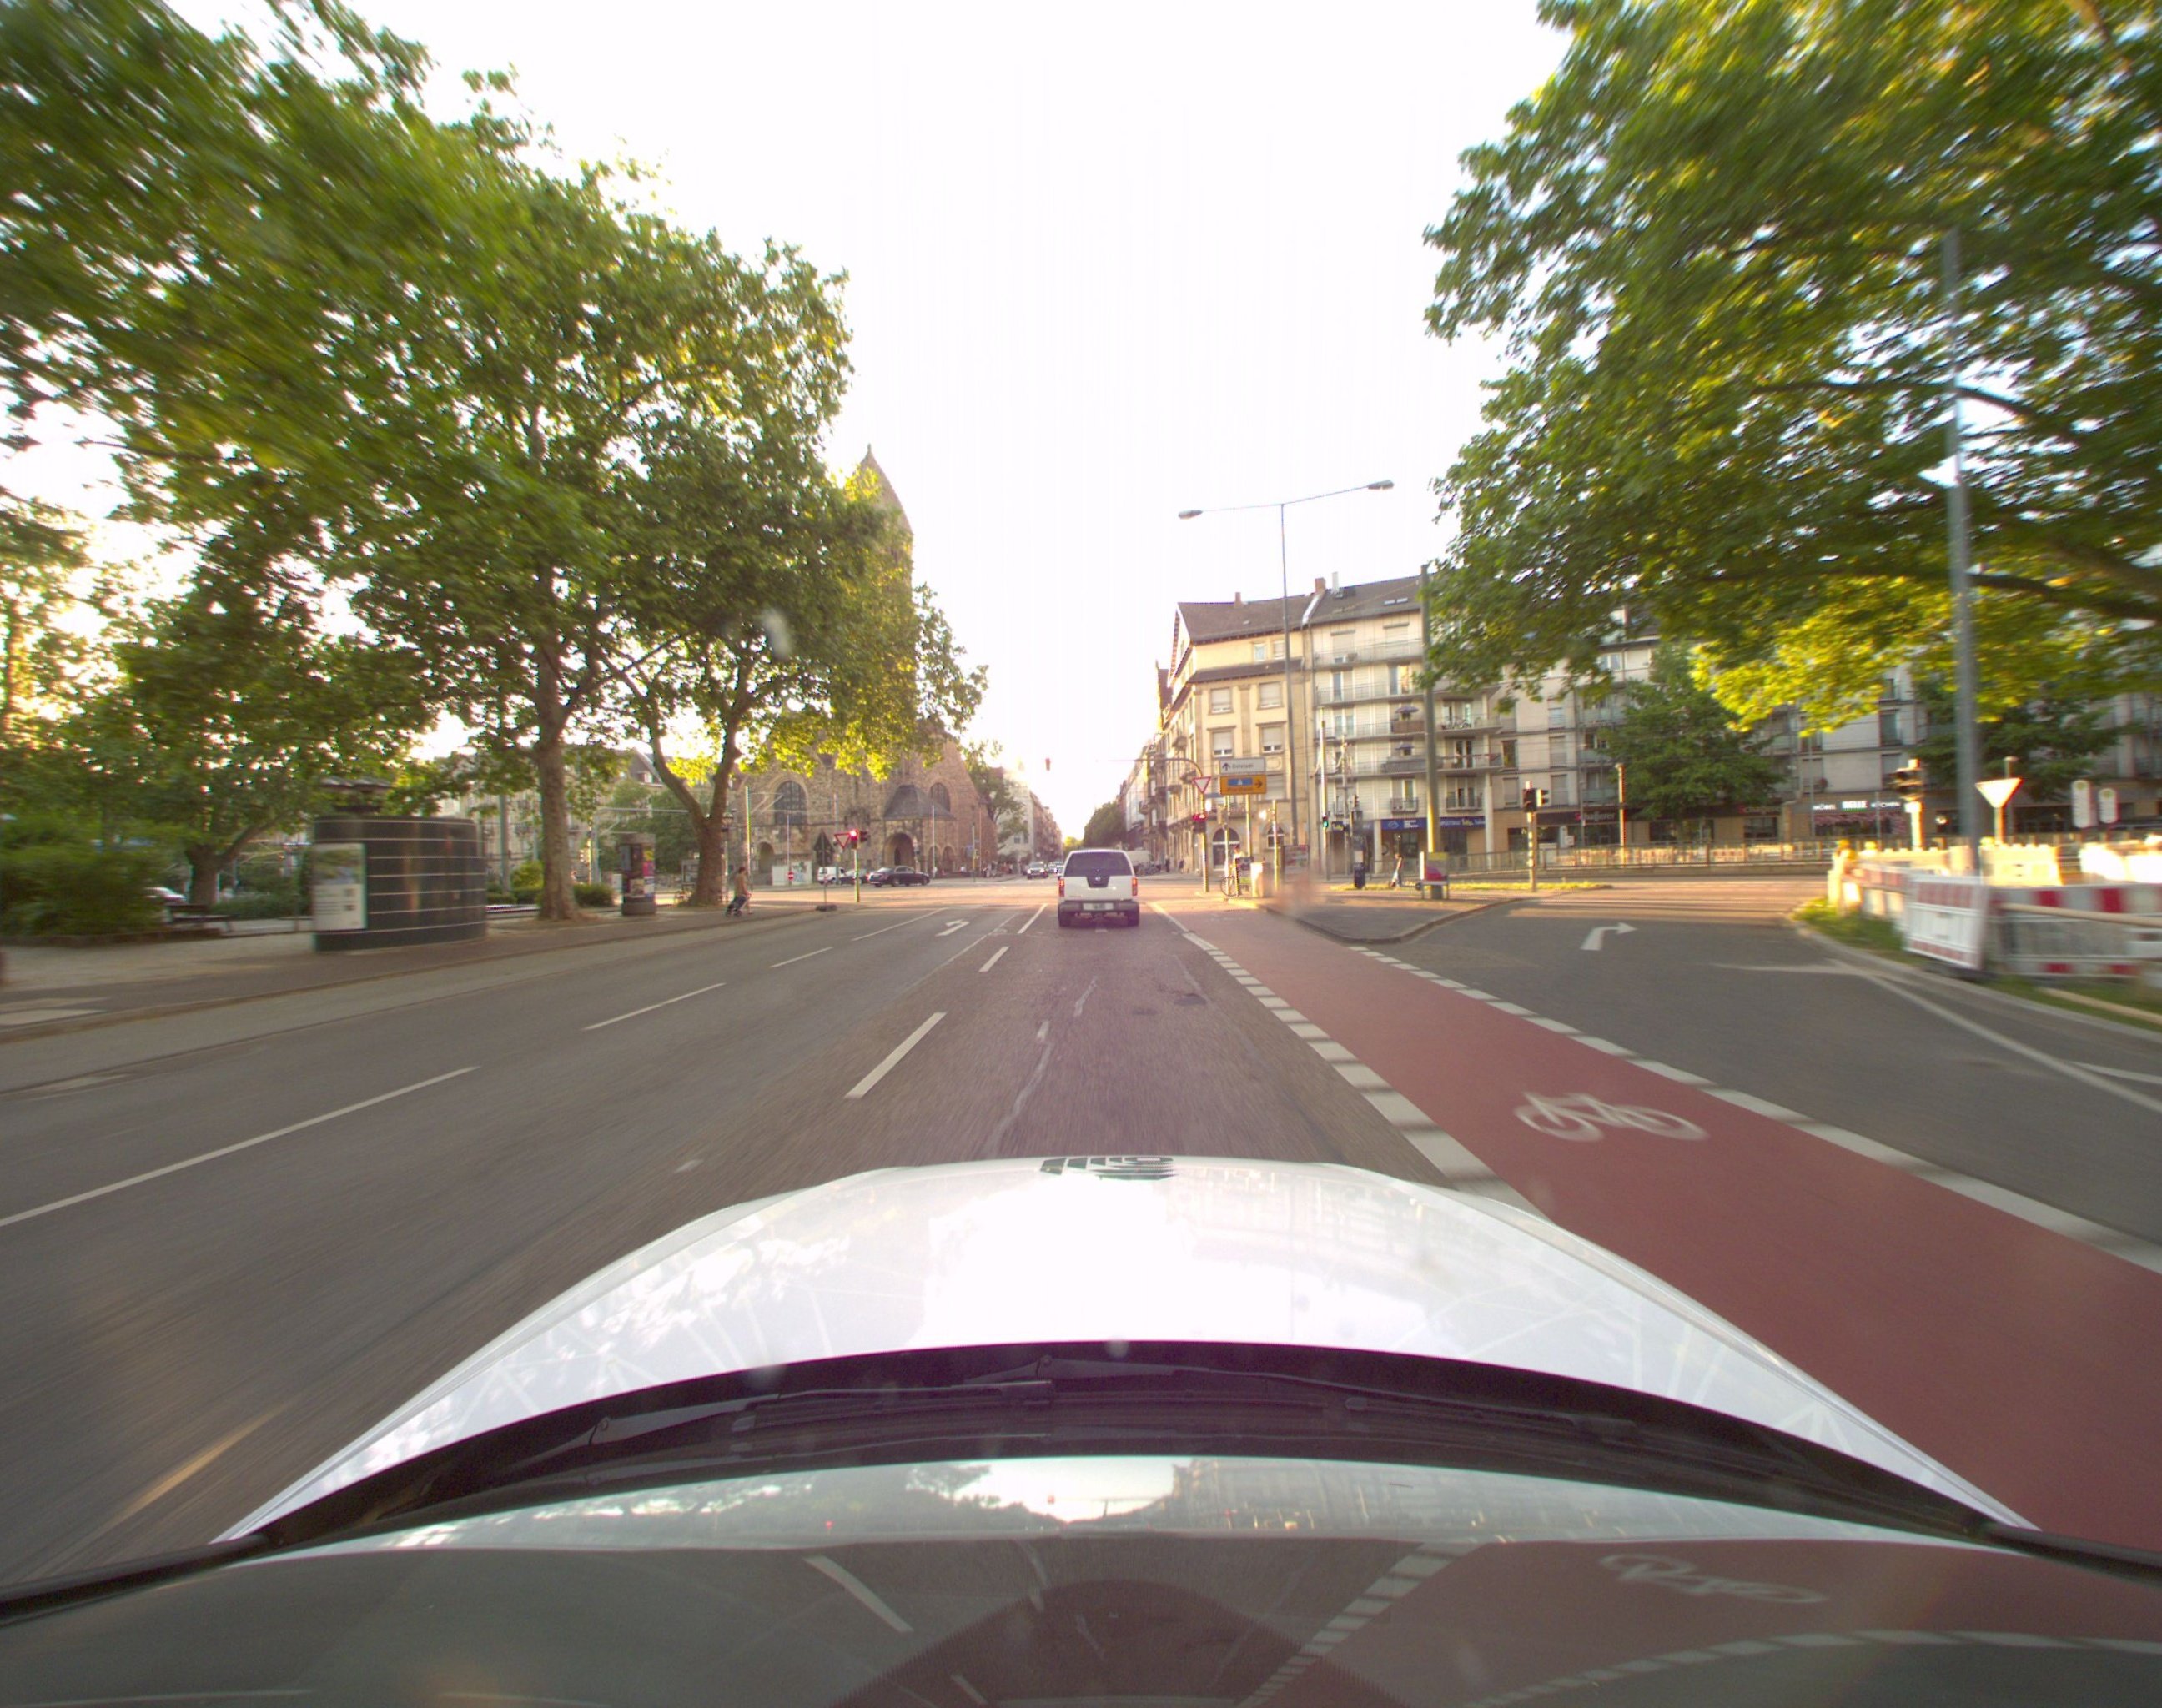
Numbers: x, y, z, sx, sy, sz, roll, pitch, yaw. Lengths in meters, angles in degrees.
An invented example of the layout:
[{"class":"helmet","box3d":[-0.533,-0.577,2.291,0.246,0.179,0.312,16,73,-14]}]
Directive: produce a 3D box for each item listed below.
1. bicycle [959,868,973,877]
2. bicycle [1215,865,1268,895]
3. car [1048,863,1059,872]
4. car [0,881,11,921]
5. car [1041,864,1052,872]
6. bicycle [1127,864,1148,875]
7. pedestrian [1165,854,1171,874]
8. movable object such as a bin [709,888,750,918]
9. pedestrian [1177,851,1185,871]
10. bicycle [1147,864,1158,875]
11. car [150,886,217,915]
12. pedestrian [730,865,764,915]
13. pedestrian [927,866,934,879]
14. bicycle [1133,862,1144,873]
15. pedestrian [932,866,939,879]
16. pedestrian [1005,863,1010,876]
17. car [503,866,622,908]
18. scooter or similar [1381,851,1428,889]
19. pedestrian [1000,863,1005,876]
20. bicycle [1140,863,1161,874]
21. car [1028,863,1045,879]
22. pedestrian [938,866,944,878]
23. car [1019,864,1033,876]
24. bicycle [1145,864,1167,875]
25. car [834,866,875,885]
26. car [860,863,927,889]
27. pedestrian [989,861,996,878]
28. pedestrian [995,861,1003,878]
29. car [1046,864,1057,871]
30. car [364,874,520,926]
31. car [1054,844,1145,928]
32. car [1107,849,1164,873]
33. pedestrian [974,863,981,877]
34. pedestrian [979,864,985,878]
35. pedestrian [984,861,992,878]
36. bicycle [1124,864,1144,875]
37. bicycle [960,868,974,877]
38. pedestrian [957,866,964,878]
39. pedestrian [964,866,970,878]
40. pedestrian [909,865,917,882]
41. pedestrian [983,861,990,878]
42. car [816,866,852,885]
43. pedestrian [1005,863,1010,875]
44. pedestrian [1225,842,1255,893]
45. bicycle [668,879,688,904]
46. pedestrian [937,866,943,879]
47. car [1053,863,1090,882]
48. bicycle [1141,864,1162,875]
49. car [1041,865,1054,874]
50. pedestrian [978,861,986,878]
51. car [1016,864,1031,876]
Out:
[{"class":"bicycle","box3d":[-13.227,2.164,93.617,1.489,0.968,0.396,-2,-1,12]},{"class":"bicycle","box3d":[5.572,0.891,28.260,1.687,0.968,0.545,-2,-1,-3]},{"class":"car","box3d":[-5.032,2.510,150.231,1.989,1.506,3.816,0,-1,-4]},{"class":"car","box3d":[-63.247,2.712,46.398,4.285,2.260,1.942,-2,-1,26]},{"class":"car","box3d":[-6.631,2.623,156.583,1.989,1.506,3.816,0,-1,-4]},{"class":"bicycle","box3d":[5.248,1.442,75.988,1.912,0.968,0.545,-2,-1,-5]},{"class":"pedestrian","box3d":[8.415,0.954,78.725,0.590,1.887,0.648,-2,-1,6]},{"class":"movable object such as a bin","box3d":[-11.344,1.570,26.322,0.732,0.890,0.987,-2,-1,16]},{"class":"pedestrian","box3d":[8.770,0.596,71.305,0.590,1.768,0.654,-2,-1,6]},{"class":"bicycle","box3d":[6.807,1.451,77.620,0.539,0.968,1.930,-2,0,18]},{"class":"car","box3d":[-61.617,3.182,55.907,4.285,1.842,1.942,-2,-1,26]},{"class":"pedestrian","box3d":[-11.098,1.199,27.106,0.732,1.629,0.689,-2,-1,16]},{"class":"pedestrian","box3d":[-16.200,1.998,87.449,0.568,1.291,0.488,-2,-1,16]},{"class":"bicycle","box3d":[5.491,1.264,78.094,0.539,0.968,1.930,-2,0,18]},{"class":"pedestrian","box3d":[-15.781,2.015,88.503,0.568,1.320,0.488,-2,-1,16]},{"class":"pedestrian","box3d":[-10.832,2.208,119.873,0.547,1.887,0.598,-2,-1,16]},{"class":"car","box3d":[-26.239,1.651,41.435,2.059,1.841,4.658,-2,0,26]},{"class":"scooter or similar","box3d":[10.915,0.553,27.536,0.548,1.250,1.375,-1,-1,-35]},{"class":"pedestrian","box3d":[-11.501,2.206,119.314,0.554,1.887,0.591,-1,-1,-22]},{"class":"bicycle","box3d":[6.445,1.312,75.210,1.907,0.968,0.546,-2,-1,2]},{"class":"car","box3d":[-4.795,1.779,86.982,1.778,1.651,3.816,0,-1,-4]},{"class":"pedestrian","box3d":[-15.172,1.918,88.126,0.499,1.280,0.489,-1,-1,-20]},{"class":"car","box3d":[-7.866,2.231,116.783,1.989,1.651,3.816,0,-1,-4]},{"class":"bicycle","box3d":[7.022,1.437,76.243,1.899,0.968,0.548,-2,-1,18]},{"class":"car","box3d":[-23.554,2.256,84.814,3.760,1.805,1.722,-2,-1,22]},{"class":"car","box3d":[-13.043,1.522,56.878,1.974,1.651,4.293,-2,-1,35]},{"class":"pedestrian","box3d":[-9.860,1.726,90.874,0.590,1.887,0.554,-2,-1,4]},{"class":"pedestrian","box3d":[-9.176,1.725,90.991,0.650,1.887,0.587,-2,-1,6]},{"class":"car","box3d":[-5.840,2.673,161.334,1.989,1.506,3.816,0,-1,-4]},{"class":"car","box3d":[-26.590,1.860,34.084,2.059,1.841,4.658,-2,0,26]},{"class":"car","box3d":[0.544,0.712,19.582,1.856,1.815,4.006,0,-1,6]},{"class":"car","box3d":[5.514,0.693,81.816,5.852,2.288,2.048,-1,-1,-39]},{"class":"pedestrian","box3d":[-13.699,2.091,107.795,0.588,1.887,0.556,-2,-1,25]},{"class":"pedestrian","box3d":[-13.263,2.269,109.379,0.588,1.887,0.556,-2,-1,24]},{"class":"pedestrian","box3d":[-10.782,1.771,94.451,0.588,1.887,0.556,-2,-1,18]},{"class":"bicycle","box3d":[4.996,1.453,76.808,1.907,0.968,0.546,-2,-1,2]},{"class":"bicycle","box3d":[-13.140,2.170,93.948,1.489,0.968,0.396,-2,-1,12]},{"class":"pedestrian","box3d":[-13.680,2.036,92.705,0.568,1.291,0.488,-2,-1,16]},{"class":"pedestrian","box3d":[-12.968,2.031,92.573,0.489,1.286,0.499,-2,-1,1]},{"class":"pedestrian","box3d":[-16.162,1.871,78.343,0.552,1.584,0.550,-2,-1,11]},{"class":"pedestrian","box3d":[-10.547,1.729,90.892,0.590,1.887,0.554,-2,-1,5]},{"class":"car","box3d":[-26.545,2.272,87.752,1.691,1.909,3.516,-2,-1,27]},{"class":"pedestrian","box3d":[-10.864,2.216,120.561,0.555,1.887,0.589,-1,-1,-33]},{"class":"pedestrian","box3d":[5.609,0.472,28.763,0.795,1.768,0.718,-2,-1,-13]},{"class":"bicycle","box3d":[-18.204,1.687,36.779,0.548,1.043,1.901,-1,-1,-33]},{"class":"pedestrian","box3d":[-15.163,1.986,87.609,0.493,1.286,0.495,-2,-1,21]},{"class":"car","box3d":[-0.837,1.662,72.495,1.978,1.530,4.664,-2,0,16]},{"class":"bicycle","box3d":[6.496,1.429,75.486,1.907,0.968,0.546,-2,-1,2]},{"class":"car","box3d":[-5.223,2.409,127.427,1.989,1.506,3.816,0,-1,-4]},{"class":"pedestrian","box3d":[-11.508,1.778,94.614,0.588,1.887,0.588,-2,-1,18]},{"class":"car","box3d":[-7.711,2.142,109.041,1.989,1.651,3.816,0,-1,-4]}]
